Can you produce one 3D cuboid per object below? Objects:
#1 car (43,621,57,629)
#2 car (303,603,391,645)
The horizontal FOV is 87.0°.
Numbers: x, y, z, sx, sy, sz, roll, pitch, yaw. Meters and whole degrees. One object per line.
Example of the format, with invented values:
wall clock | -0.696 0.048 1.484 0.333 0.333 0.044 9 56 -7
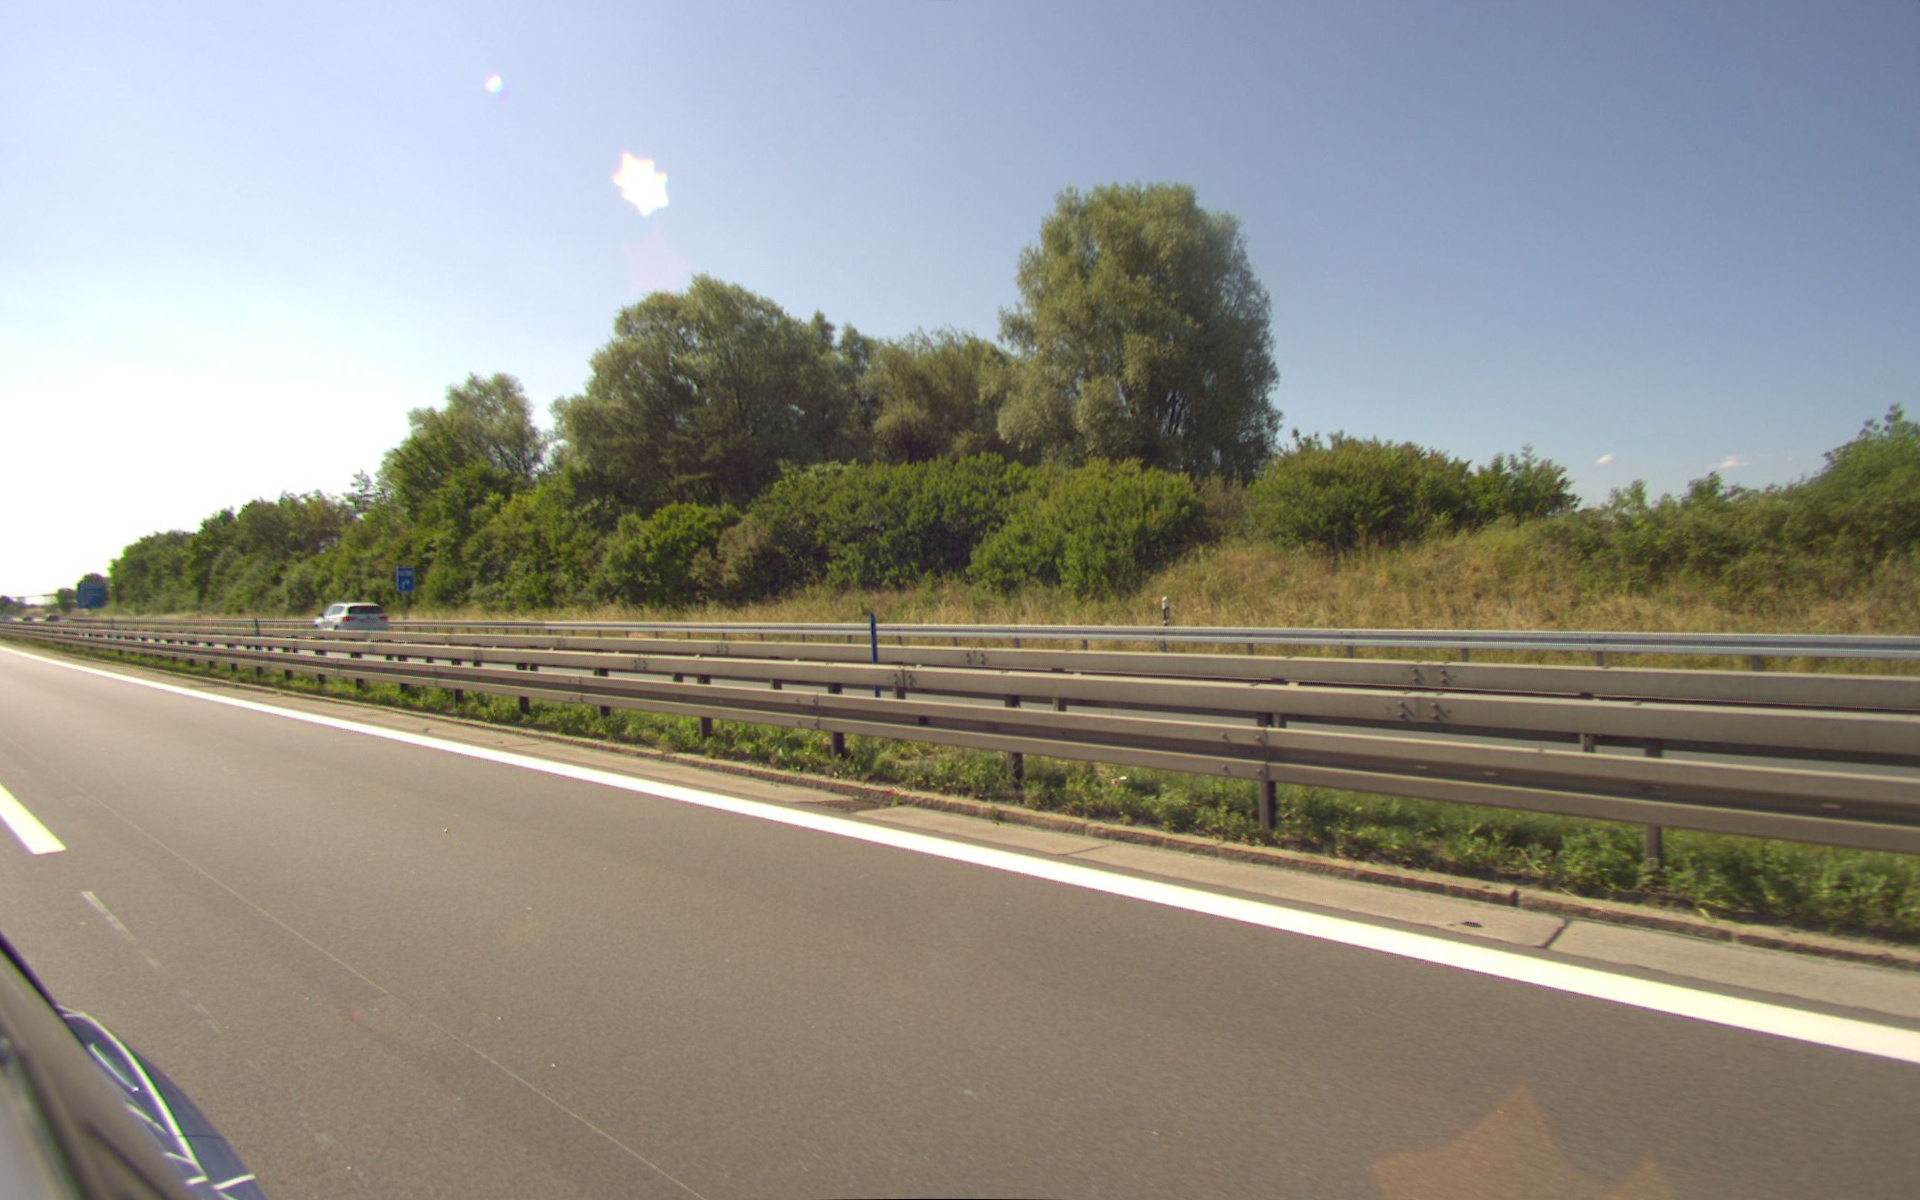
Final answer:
car | -167.829 4.618 186.549 4.541 1.504 1.631 -1 0 45
car | -24.836 0.950 40.960 4.578 1.576 1.733 -1 1 42
